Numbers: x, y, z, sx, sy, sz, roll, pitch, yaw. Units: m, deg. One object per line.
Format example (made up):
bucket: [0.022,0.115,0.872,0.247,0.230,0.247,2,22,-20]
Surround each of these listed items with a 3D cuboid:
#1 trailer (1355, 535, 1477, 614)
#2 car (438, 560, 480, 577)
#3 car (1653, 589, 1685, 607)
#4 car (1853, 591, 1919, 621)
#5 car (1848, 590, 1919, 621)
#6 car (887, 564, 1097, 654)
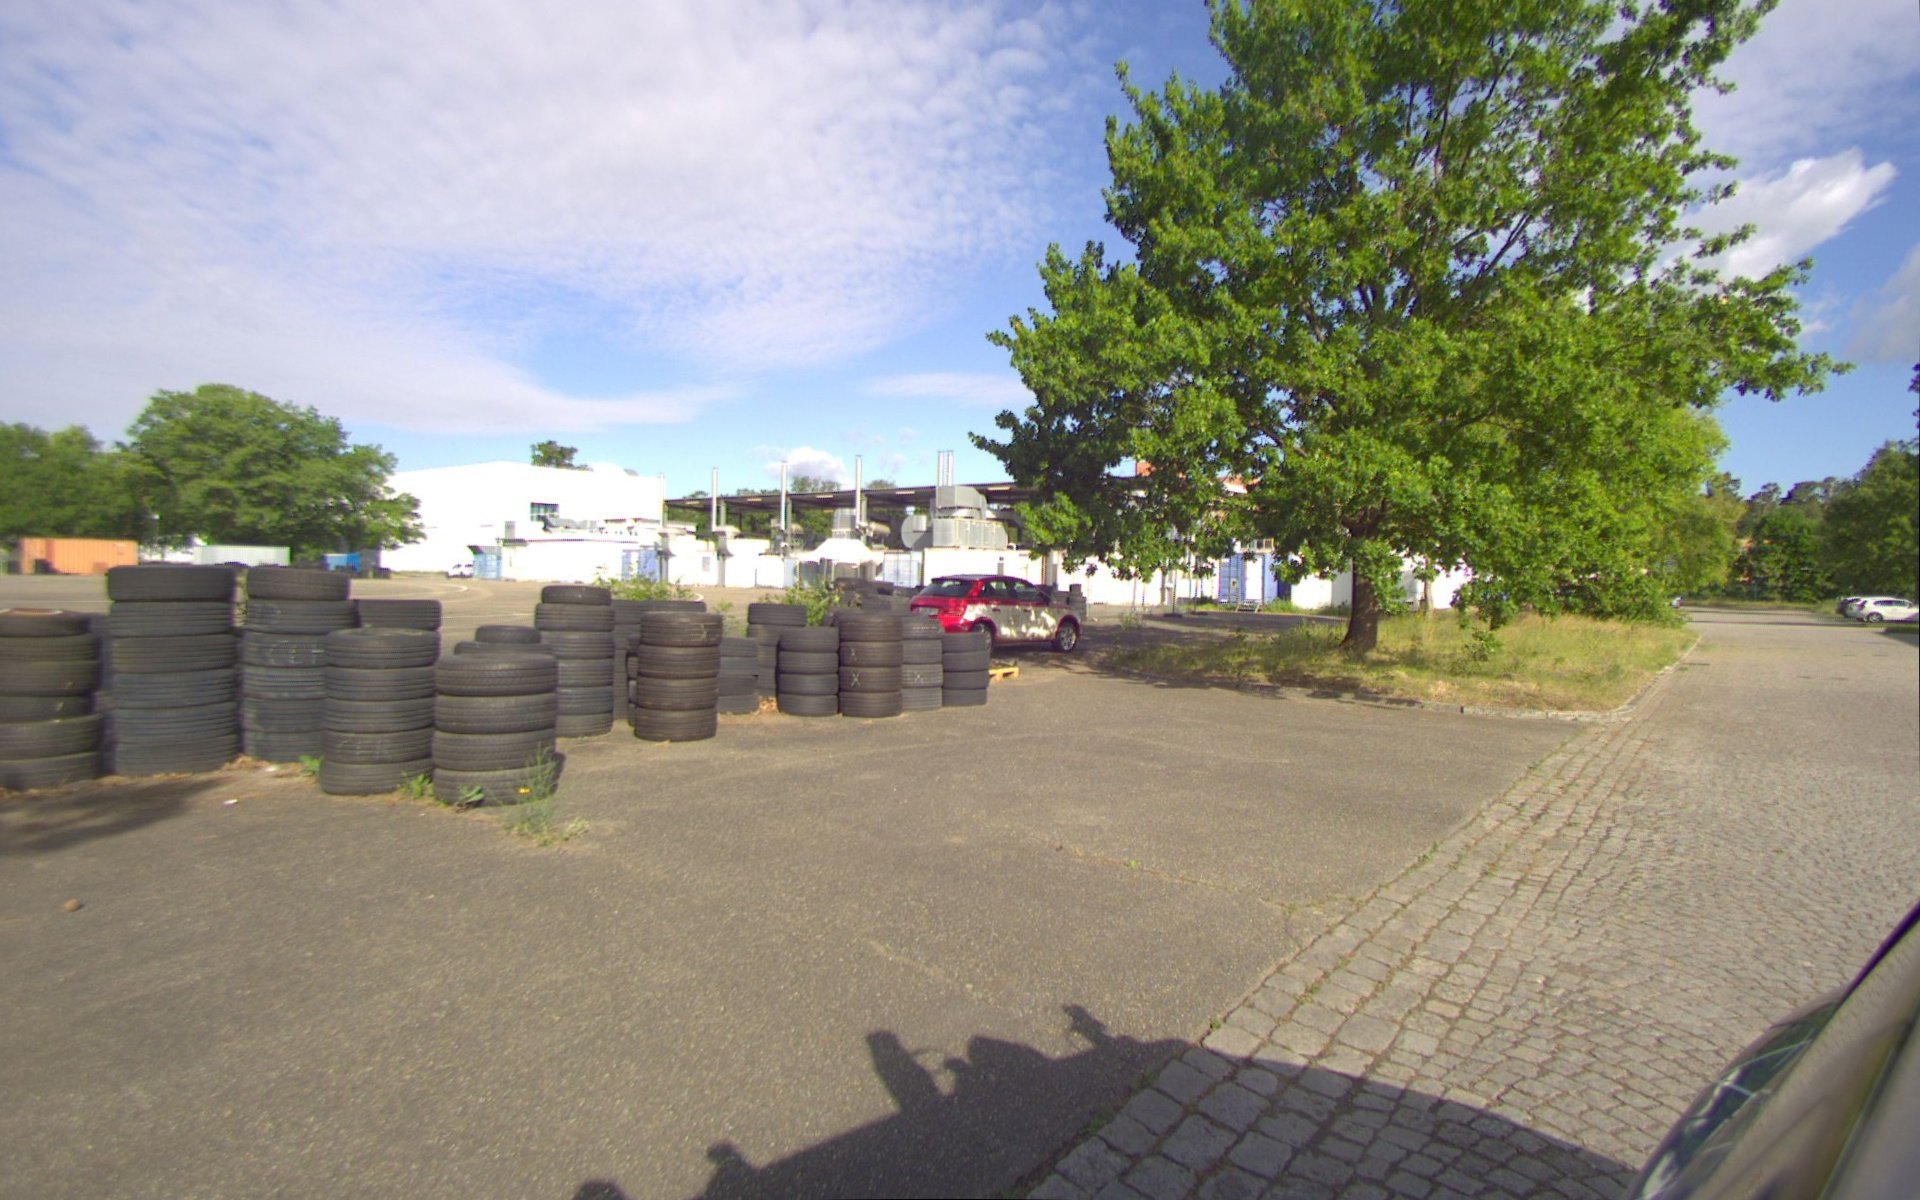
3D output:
trailer: [22.557,-1.192,49.640,2.913,3.514,9.758,2,2,40]
car: [-49.700,-3.110,100.346,4.521,1.584,1.851,2,2,37]
car: [59.705,-0.206,85.259,1.985,1.388,3.955,2,2,32]
car: [56.358,0.349,60.758,3.988,1.663,1.968,3,2,44]
car: [54.390,0.307,58.896,3.988,1.663,1.968,3,2,44]
car: [0.682,0.131,18.995,1.723,1.482,3.936,3,2,44]
